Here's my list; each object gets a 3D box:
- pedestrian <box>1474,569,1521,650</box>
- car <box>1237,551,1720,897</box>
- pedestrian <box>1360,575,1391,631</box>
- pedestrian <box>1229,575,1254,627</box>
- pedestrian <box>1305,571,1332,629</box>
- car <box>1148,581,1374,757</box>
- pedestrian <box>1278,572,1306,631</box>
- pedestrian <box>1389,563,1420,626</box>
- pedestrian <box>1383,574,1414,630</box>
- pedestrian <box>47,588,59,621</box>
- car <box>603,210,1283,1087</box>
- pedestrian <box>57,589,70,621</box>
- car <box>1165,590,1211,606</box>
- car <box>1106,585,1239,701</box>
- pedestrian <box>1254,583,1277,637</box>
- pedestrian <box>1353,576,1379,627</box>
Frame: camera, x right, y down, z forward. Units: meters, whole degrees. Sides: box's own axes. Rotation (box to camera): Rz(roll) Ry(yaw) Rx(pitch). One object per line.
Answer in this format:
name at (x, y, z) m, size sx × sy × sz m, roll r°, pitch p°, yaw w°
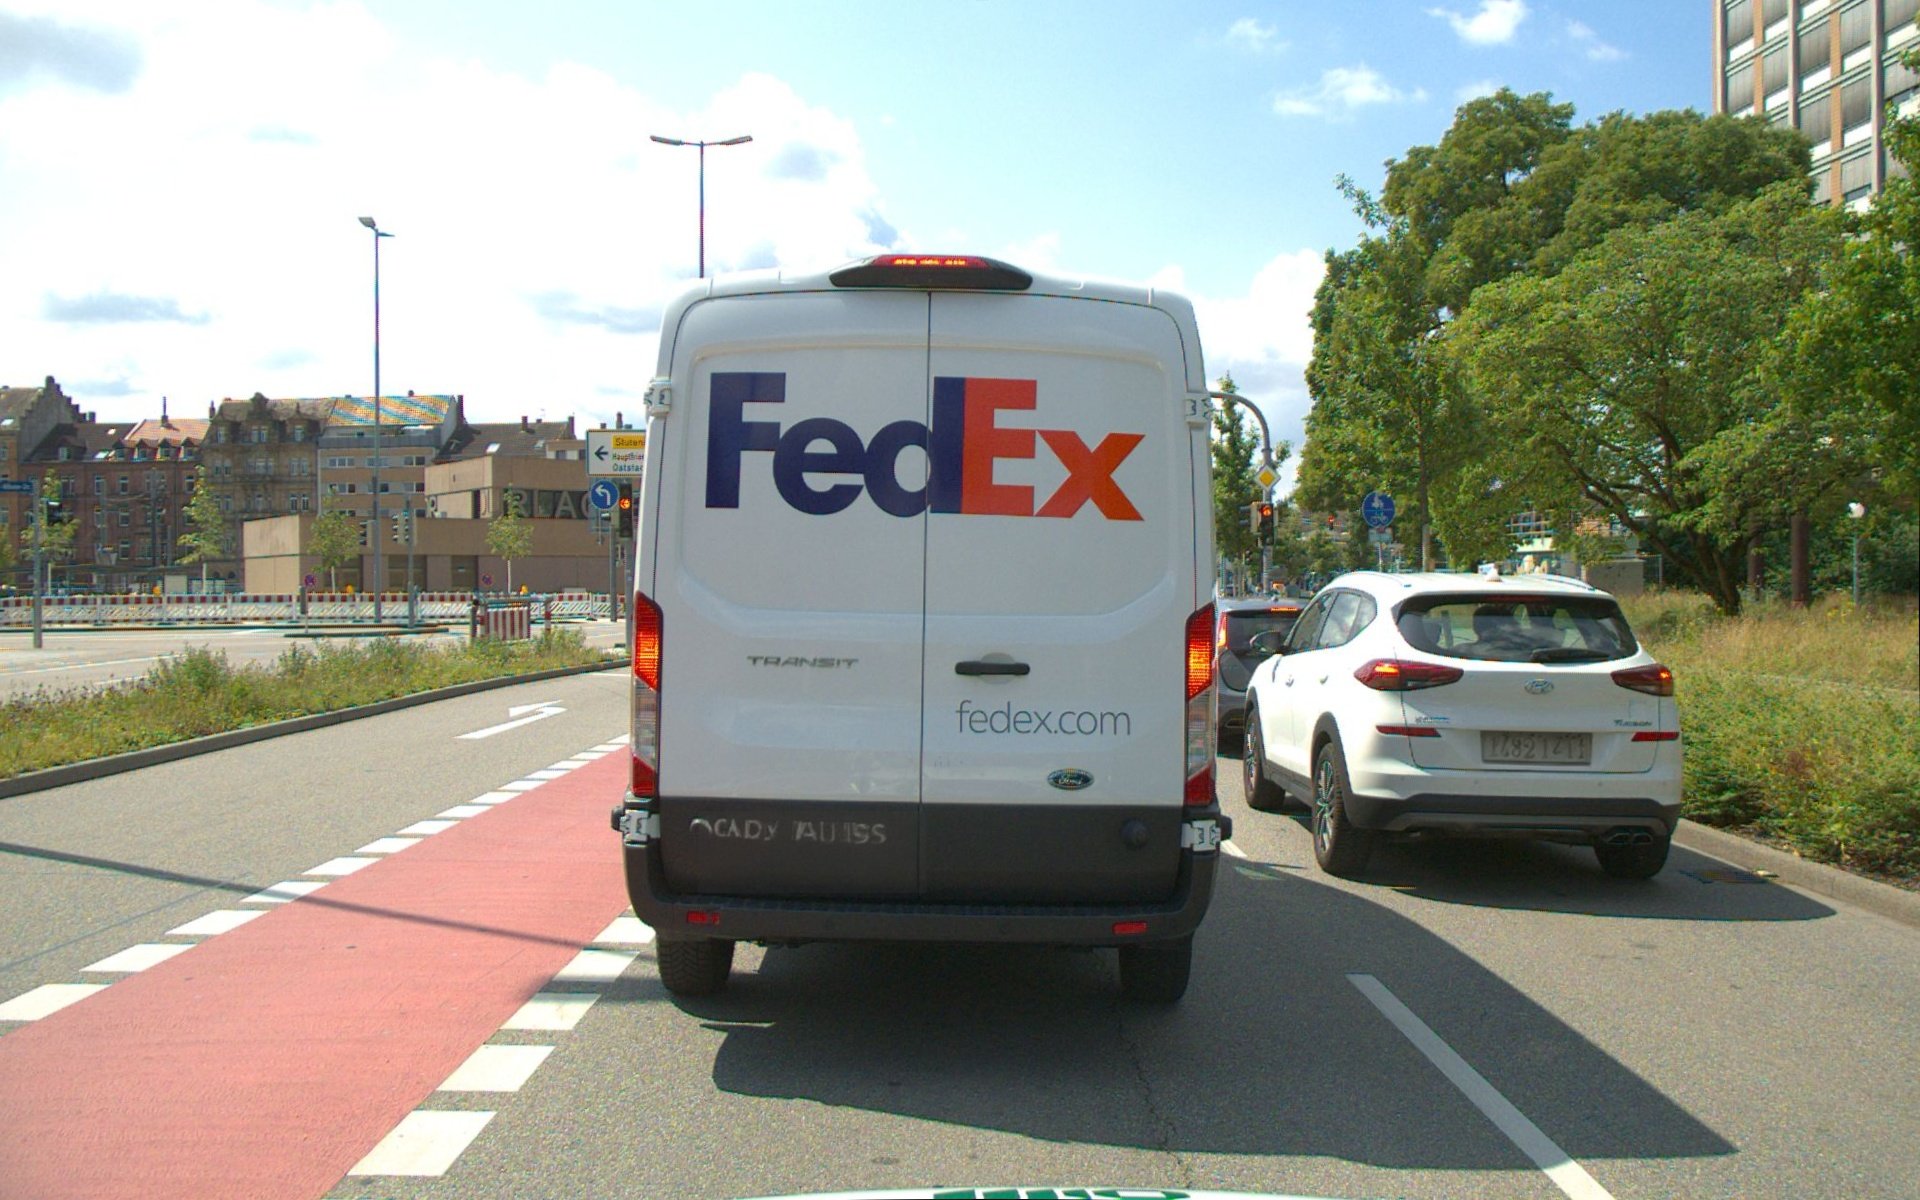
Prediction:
pedestrian at (11.387, 0.198, 35.051) m, size 0.743 × 1.684 × 0.816 m, roll 0°, pitch 0°, yaw 3°
car at (2.908, 0.593, 10.200) m, size 1.777 × 1.708 × 3.974 m, roll 0°, pitch 1°, yaw 1°
pedestrian at (14.083, 0.096, 56.118) m, size 0.745 × 1.882 × 0.814 m, roll -1°, pitch 0°, yaw -11°
pedestrian at (10.251, 0.021, 60.142) m, size 0.796 × 1.882 × 0.761 m, roll 0°, pitch 0°, yaw 2°
pedestrian at (11.612, -0.009, 53.582) m, size 0.743 × 1.882 × 0.816 m, roll 0°, pitch 0°, yaw 3°
car at (2.930, 0.599, 16.783) m, size 1.656 × 1.576 × 3.721 m, roll 0°, pitch 1°, yaw 1°
pedestrian at (10.706, 0.031, 53.359) m, size 0.743 × 1.882 × 0.816 m, roll 0°, pitch 0°, yaw 1°
pedestrian at (12.990, -0.176, 48.370) m, size 0.743 × 1.820 × 0.817 m, roll 0°, pitch 0°, yaw 5°
pedestrian at (14.955, 0.050, 56.421) m, size 0.745 × 1.882 × 0.814 m, roll 0°, pitch 0°, yaw -9°
pedestrian at (-47.441, 0.240, 86.505) m, size 0.416 × 1.681 × 0.416 m, roll 1°, pitch -1°, yaw 33°
car at (-0.021, 0.123, 7.190) m, size 2.030 × 2.626 × 4.428 m, roll 0°, pitch 1°, yaw 1°
pedestrian at (-46.783, 0.251, 86.288) m, size 0.416 × 1.681 × 0.416 m, roll 1°, pitch -1°, yaw 33°
car at (21.946, -0.225, 159.041) m, size 4.147 × 1.524 × 1.740 m, roll 0°, pitch 1°, yaw -1°
car at (2.937, 0.546, 23.369) m, size 1.468 × 1.489 × 3.474 m, roll 0°, pitch 1°, yaw 1°
pedestrian at (10.929, 0.351, 59.213) m, size 0.742 × 1.882 × 0.817 m, roll 0°, pitch 0°, yaw 14°
pedestrian at (15.220, 0.041, 62.026) m, size 0.743 × 1.882 × 0.816 m, roll 0°, pitch 0°, yaw -3°
